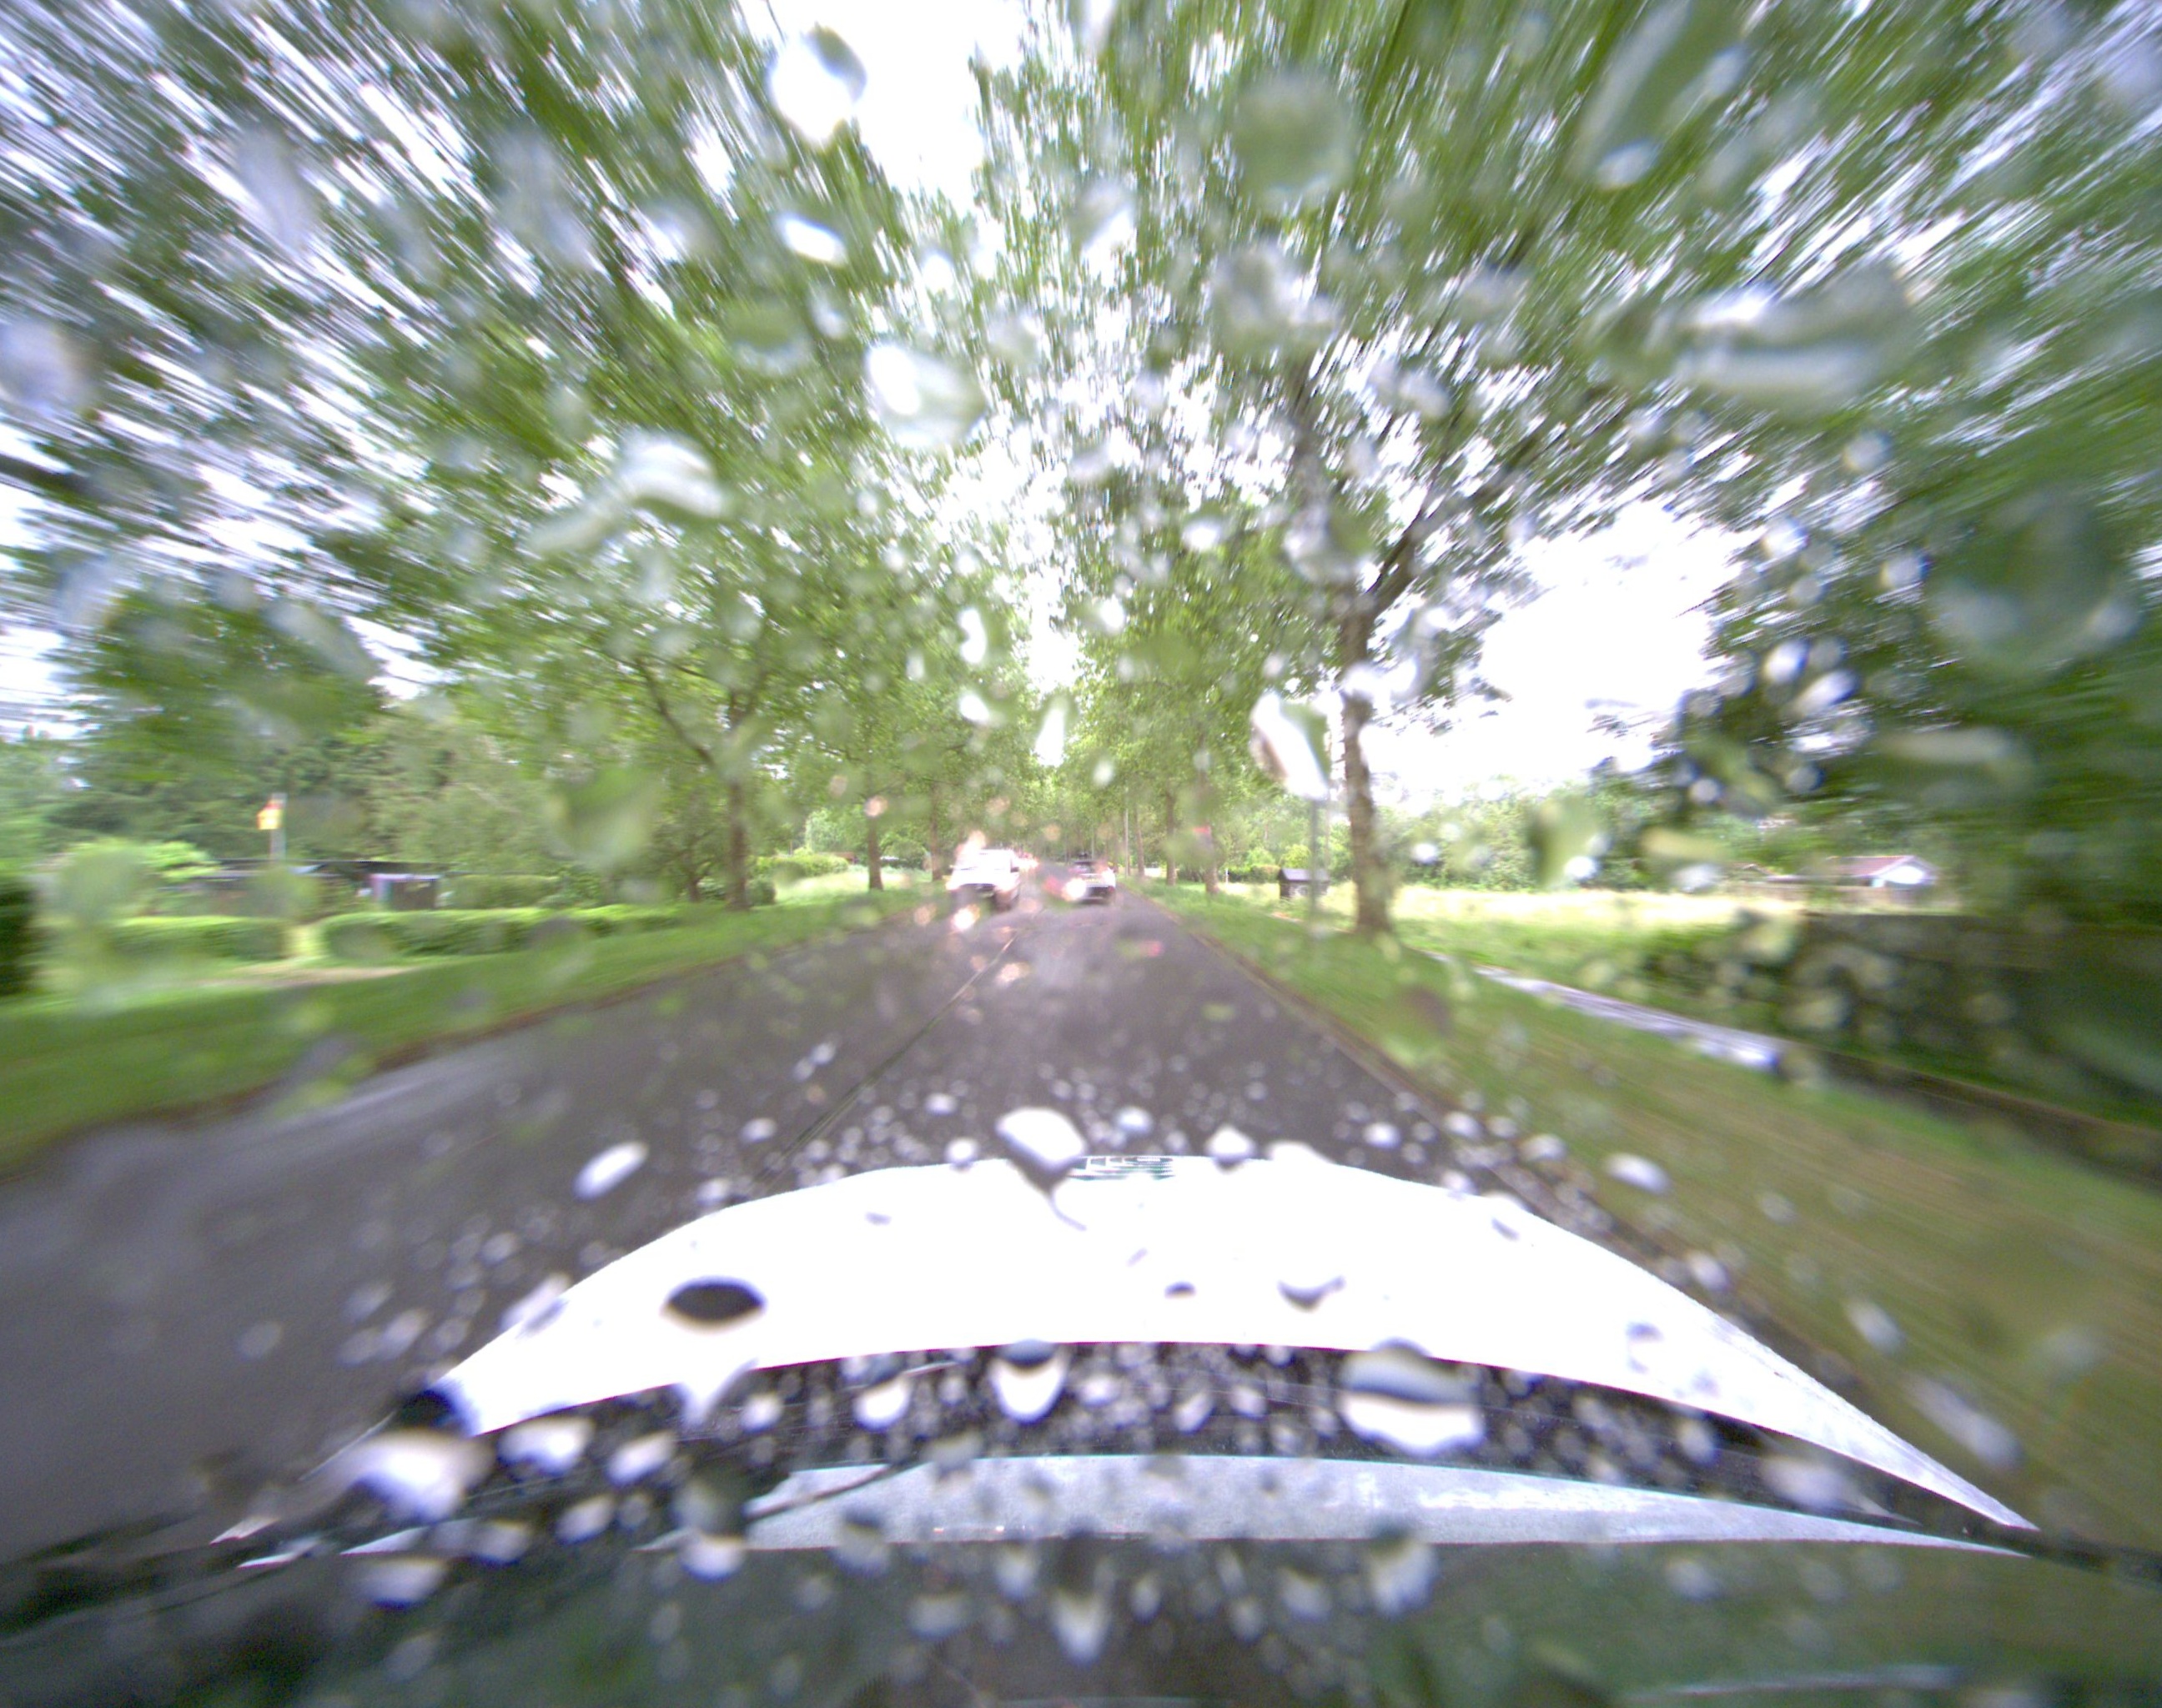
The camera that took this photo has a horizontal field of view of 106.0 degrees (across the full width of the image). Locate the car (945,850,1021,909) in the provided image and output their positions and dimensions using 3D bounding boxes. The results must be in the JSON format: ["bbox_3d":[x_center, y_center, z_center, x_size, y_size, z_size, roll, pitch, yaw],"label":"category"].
[{"bbox_3d":[-3.112,0.788,26.858,1.857,1.750,5.015,0,0,0],"label":"car"}]

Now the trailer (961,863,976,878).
[{"bbox_3d":[-20.326,3.003,147.591,2.481,2.567,5.322,0,0,-5],"label":"trailer"}]

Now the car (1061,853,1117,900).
[{"bbox_3d":[0.346,0.763,29.564,1.786,1.578,3.848,0,0,4],"label":"car"}]
